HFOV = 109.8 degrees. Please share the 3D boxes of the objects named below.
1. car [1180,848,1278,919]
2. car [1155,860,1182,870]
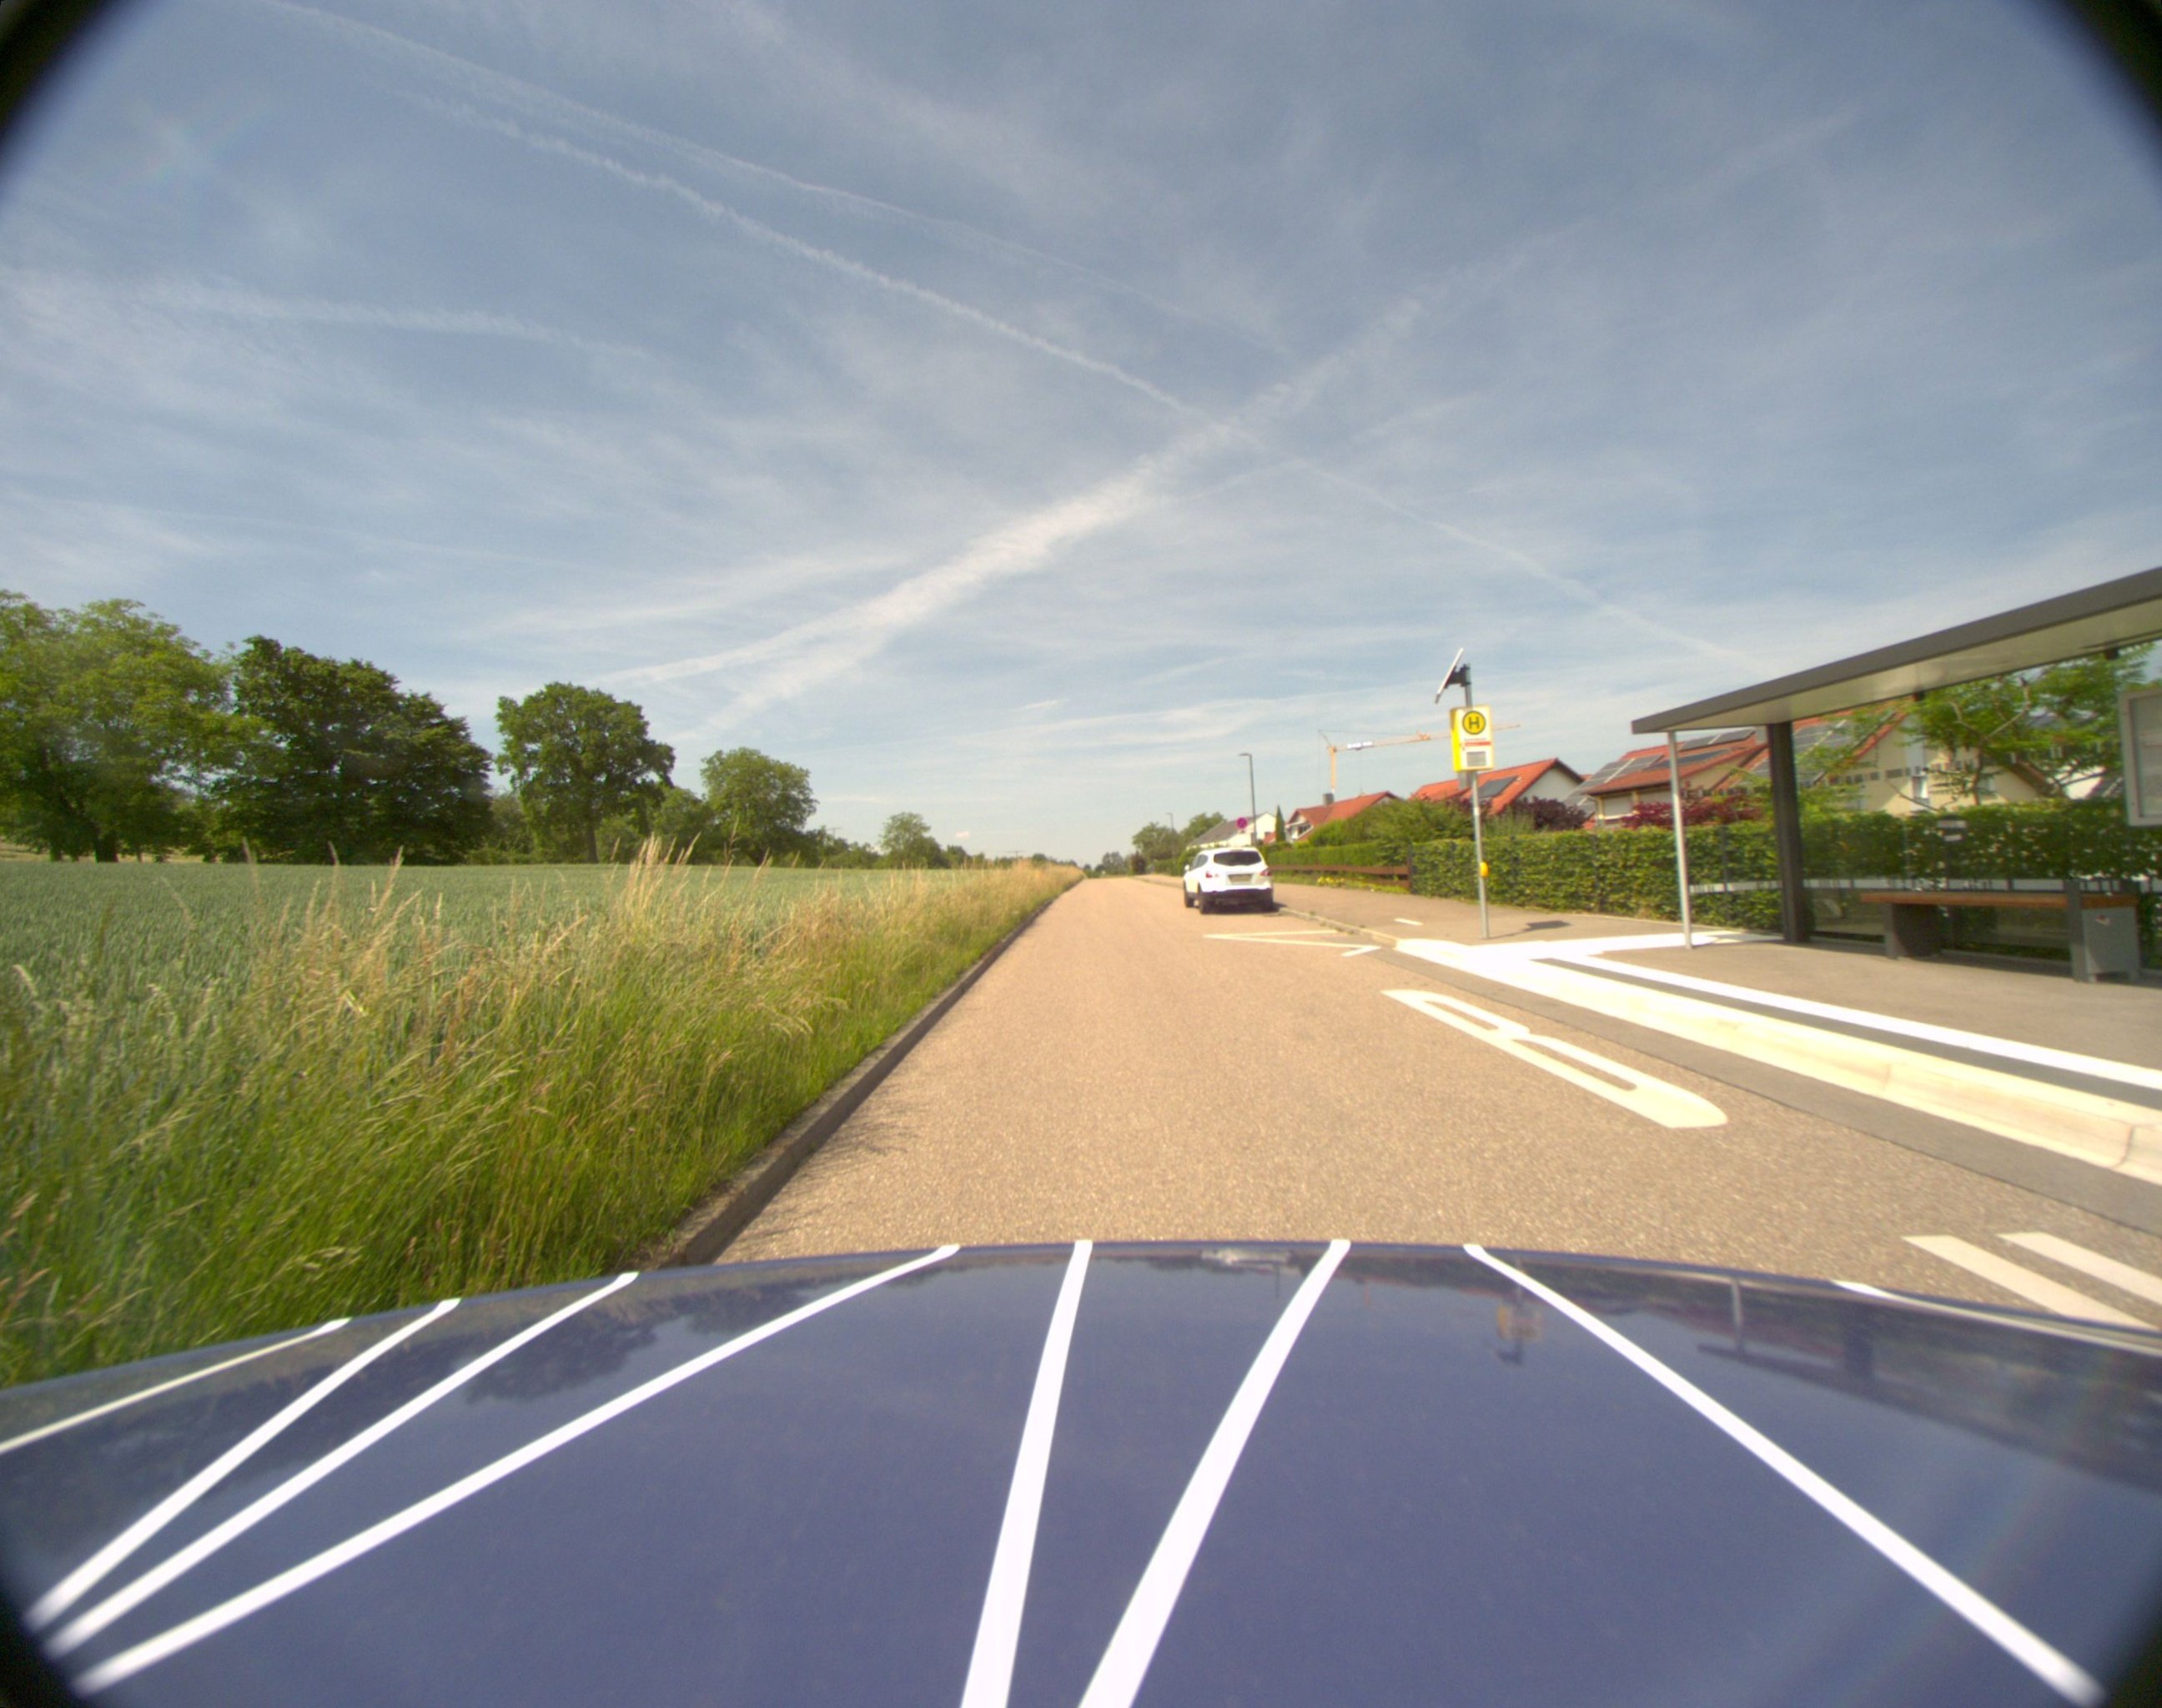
[{"bbox_3d":[3.800,0.717,20.278,1.738,1.623,4.352,-2,0,0],"label":"car"},{"bbox_3d":[13.300,1.724,115.785,3.884,1.313,1.801,-3,-1,6],"label":"car"}]
